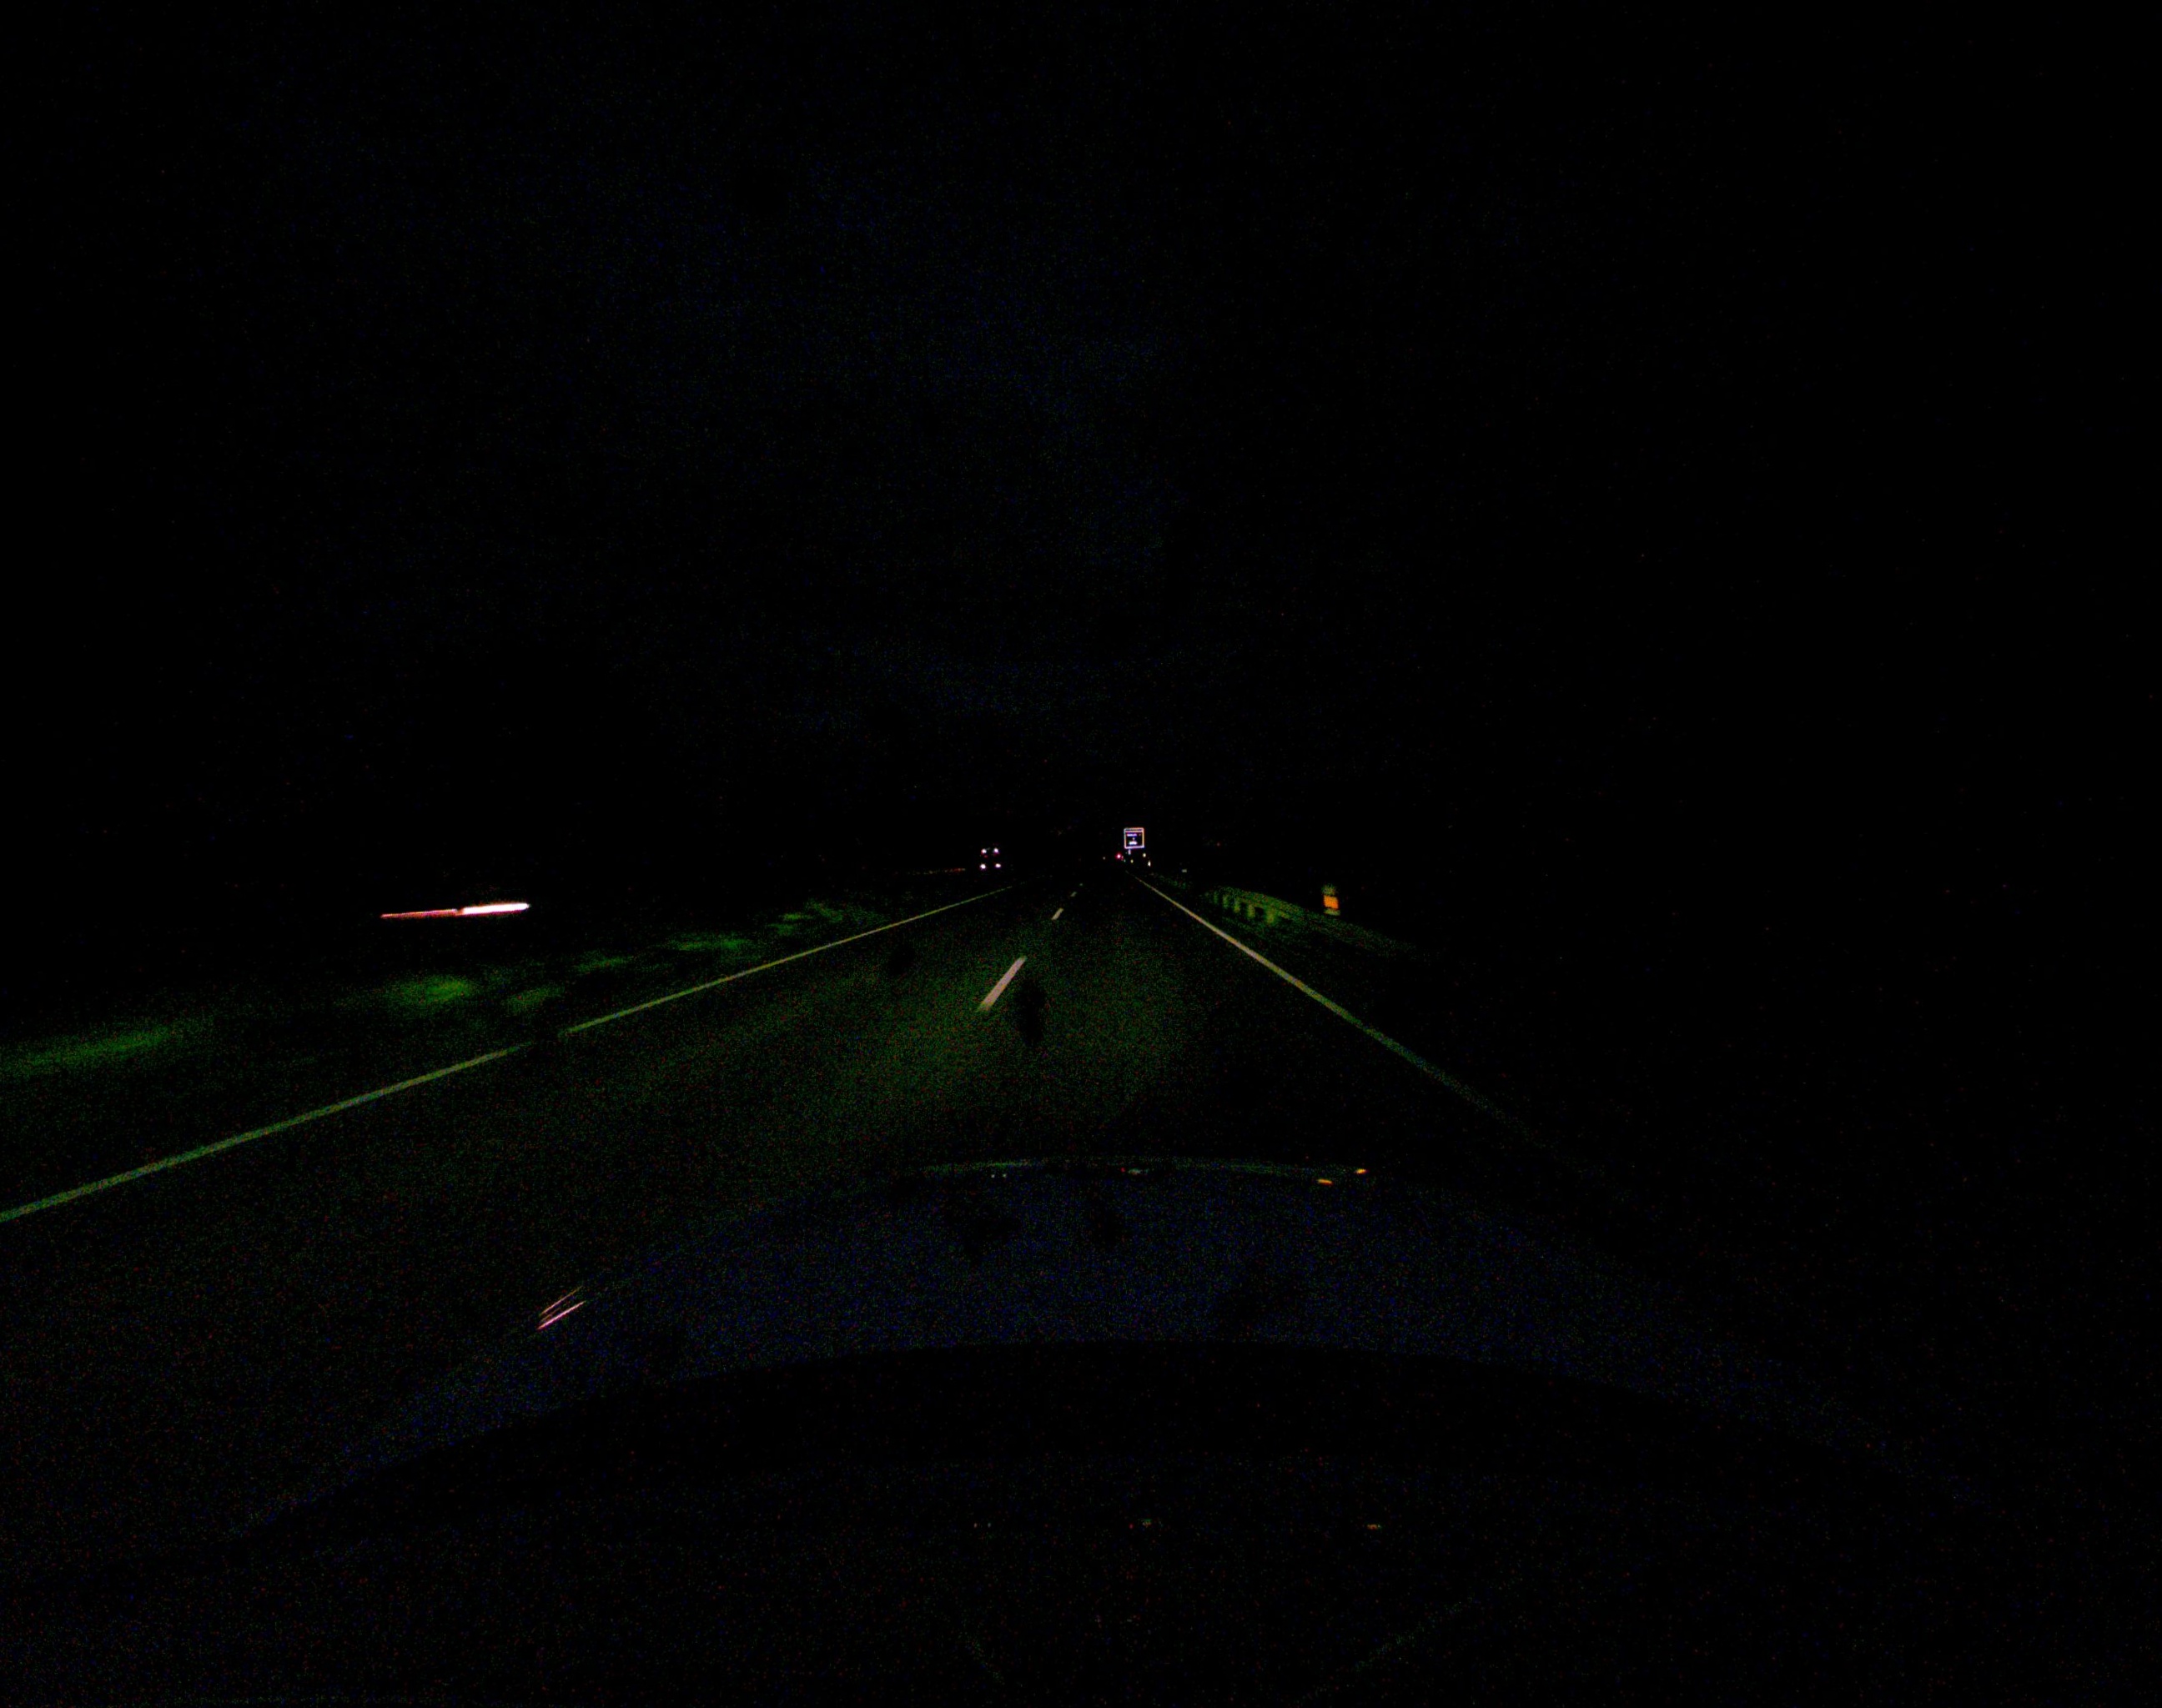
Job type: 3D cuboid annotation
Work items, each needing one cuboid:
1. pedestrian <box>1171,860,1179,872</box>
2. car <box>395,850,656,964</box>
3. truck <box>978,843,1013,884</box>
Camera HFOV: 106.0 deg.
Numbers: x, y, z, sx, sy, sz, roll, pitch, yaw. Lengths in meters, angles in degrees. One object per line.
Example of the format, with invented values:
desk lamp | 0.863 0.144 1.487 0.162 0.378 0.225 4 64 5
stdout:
pedestrian | 12.818 1.645 111.048 1.058 1.643 1.119 -1 -1 2
car | -11.726 1.004 17.808 1.958 2.099 5.348 -1 -1 1
truck | -12.224 1.272 117.581 3.191 5.255 12.612 -4 0 1
